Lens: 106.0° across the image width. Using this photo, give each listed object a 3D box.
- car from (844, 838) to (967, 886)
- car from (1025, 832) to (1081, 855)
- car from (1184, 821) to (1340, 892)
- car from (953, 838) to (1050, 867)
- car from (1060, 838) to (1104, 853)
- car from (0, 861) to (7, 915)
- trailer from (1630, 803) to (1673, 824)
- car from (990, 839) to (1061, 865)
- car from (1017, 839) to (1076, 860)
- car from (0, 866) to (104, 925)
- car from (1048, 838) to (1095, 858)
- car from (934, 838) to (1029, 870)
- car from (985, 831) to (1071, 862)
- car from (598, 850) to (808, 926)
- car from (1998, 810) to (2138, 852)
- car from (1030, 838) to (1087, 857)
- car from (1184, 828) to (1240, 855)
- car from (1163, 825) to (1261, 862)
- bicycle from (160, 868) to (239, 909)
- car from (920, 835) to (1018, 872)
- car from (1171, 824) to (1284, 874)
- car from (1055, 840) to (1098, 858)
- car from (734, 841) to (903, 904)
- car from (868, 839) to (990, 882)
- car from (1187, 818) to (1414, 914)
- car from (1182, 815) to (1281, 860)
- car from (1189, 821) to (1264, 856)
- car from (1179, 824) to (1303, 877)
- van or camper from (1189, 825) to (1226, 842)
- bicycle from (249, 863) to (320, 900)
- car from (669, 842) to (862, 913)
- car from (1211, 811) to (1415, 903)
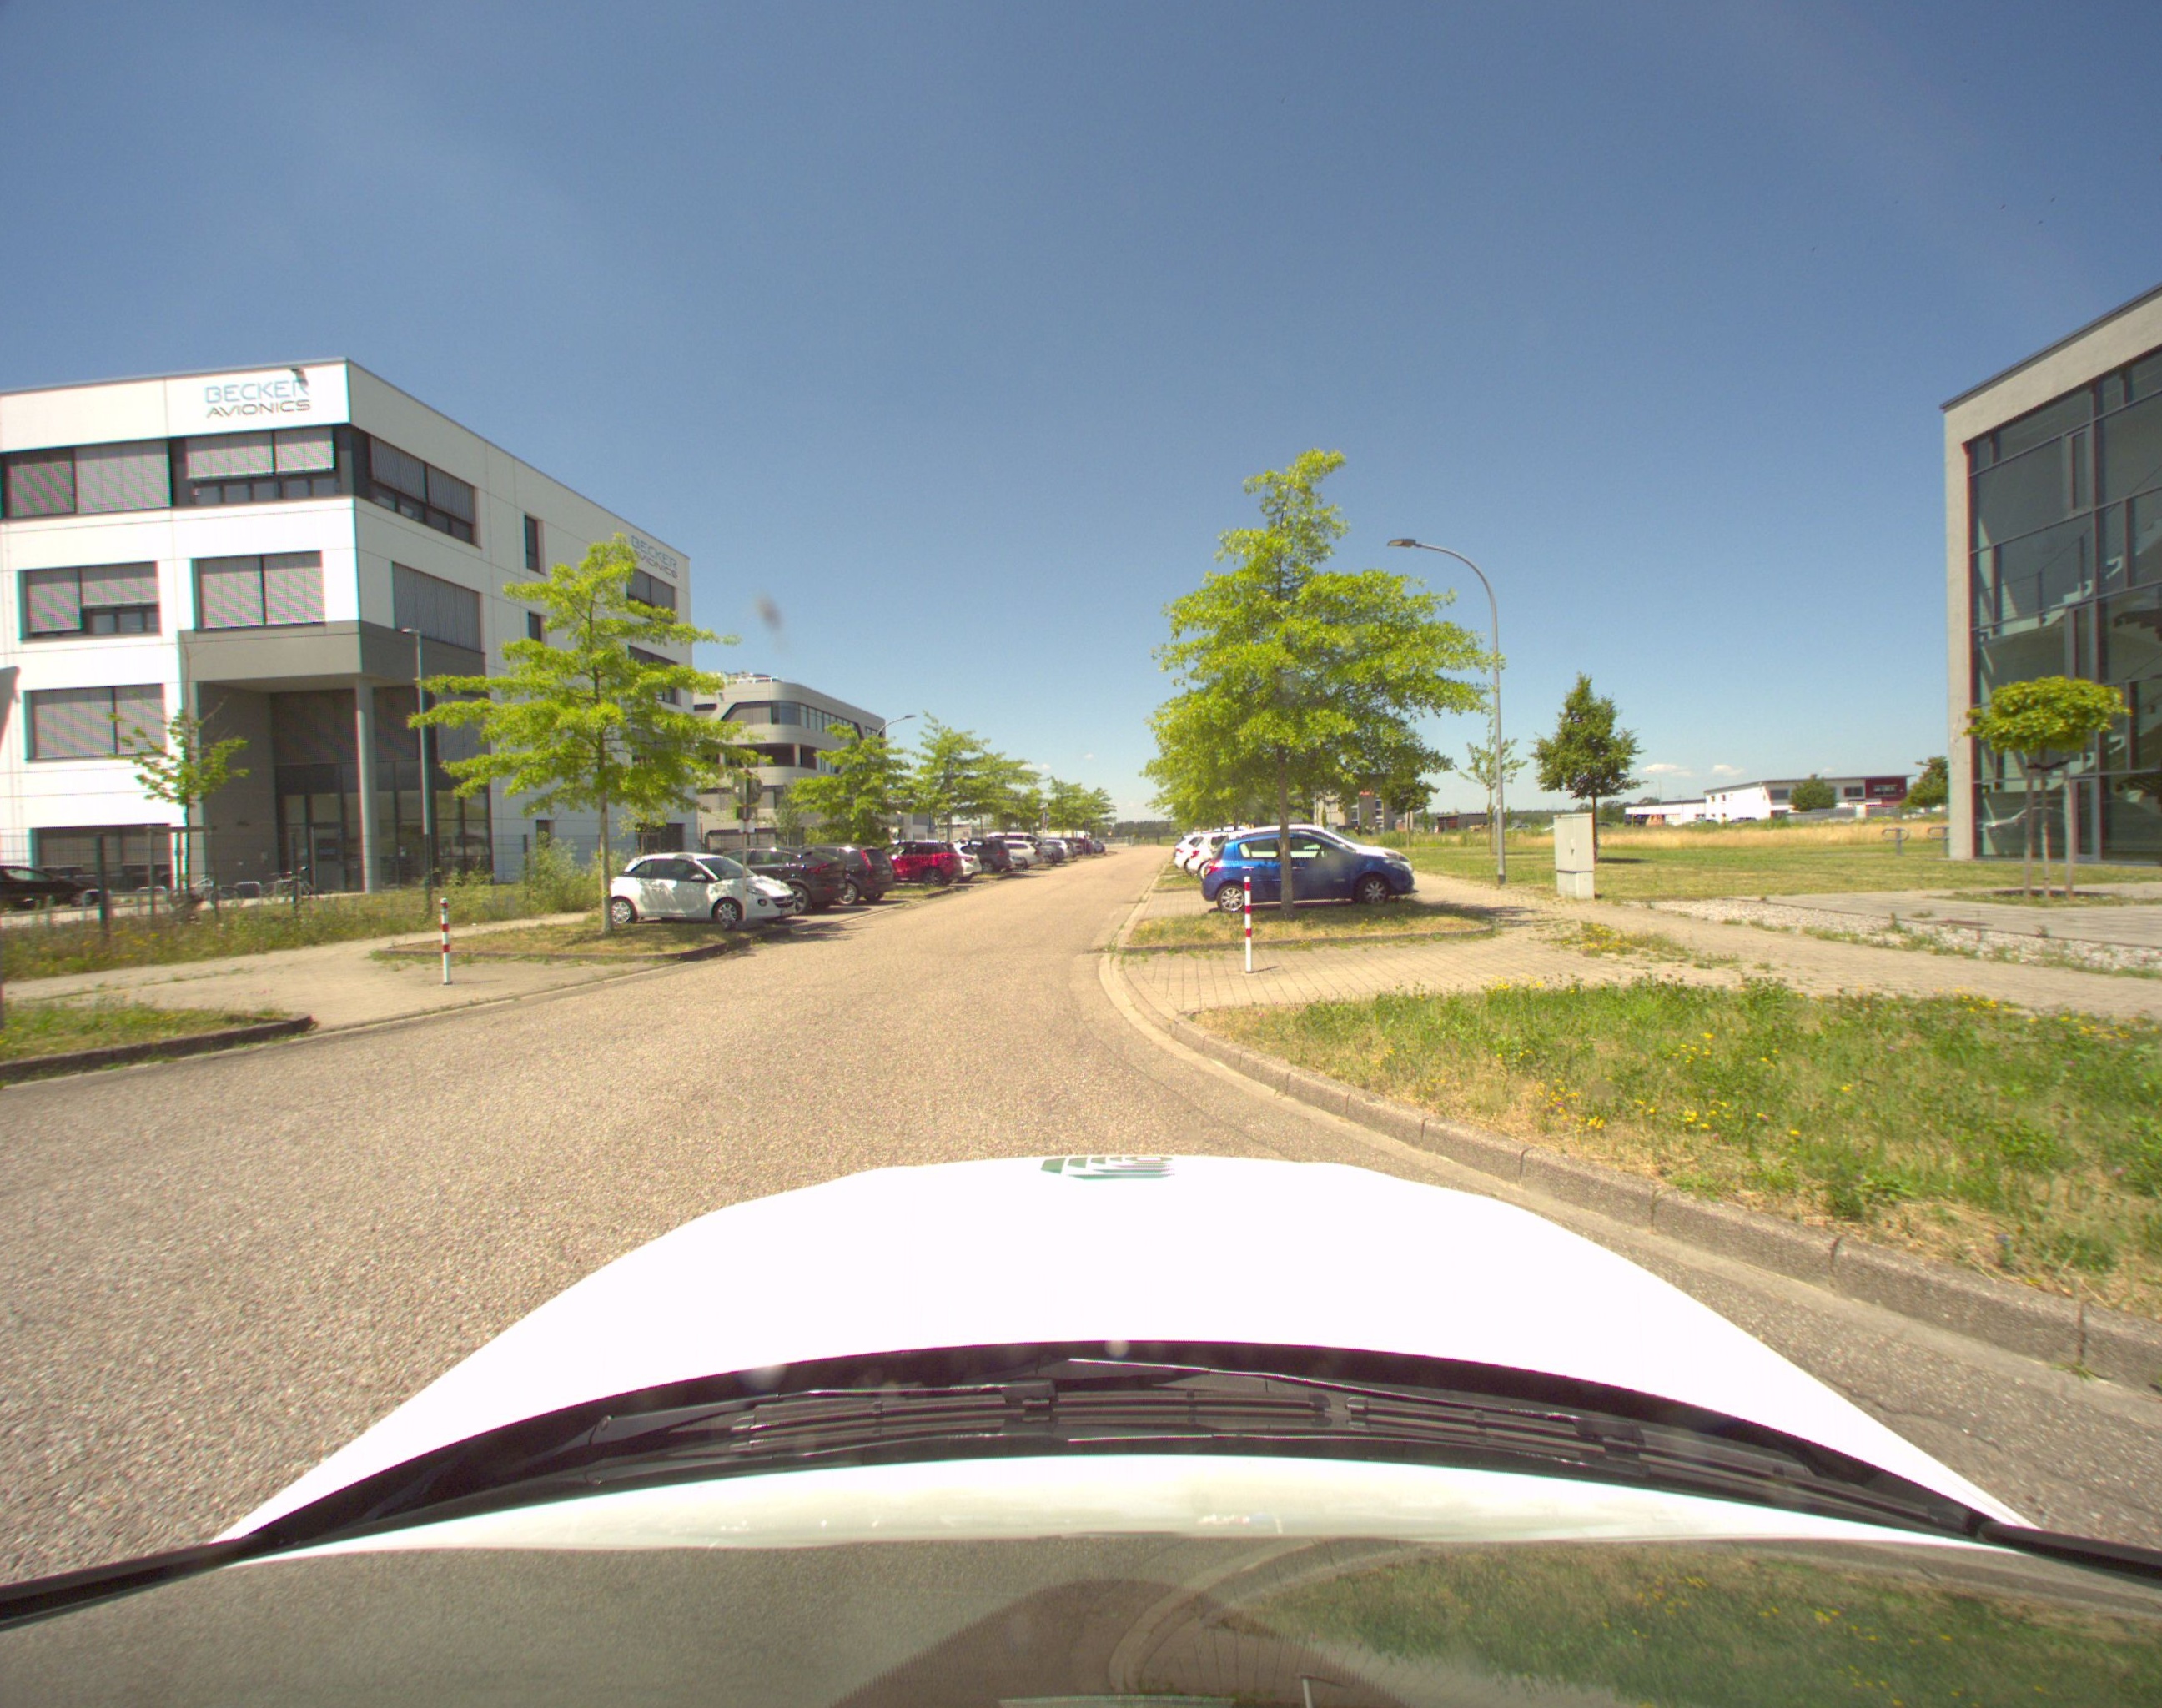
[{"bbox_3d":[-6.028,0.258,28.233,3.821,1.591,1.730,0,1,4],"label":"car"},{"bbox_3d":[-2.005,-0.763,59.799,3.971,1.678,1.778,0,1,2],"label":"car"},{"bbox_3d":[4.582,0.035,21.003,3.603,1.463,1.612,-5,1,2],"label":"car"},{"bbox_3d":[-4.067,-0.085,42.003,4.692,1.447,1.860,0,1,4],"label":"car"},{"bbox_3d":[0.113,-0.793,78.291,4.058,1.424,1.876,0,1,3],"label":"car"},{"bbox_3d":[-34.614,1.128,23.468,1.767,1.683,4.007,-2,1,6],"label":"car"},{"bbox_3d":[74.251,-5.242,106.016,3.967,2.599,2.237,-2,1,5],"label":"trailer"},{"bbox_3d":[-3.277,-0.148,48.566,3.947,1.484,1.768,0,1,7],"label":"car"},{"bbox_3d":[-2.429,-0.352,57.582,4.019,1.460,1.606,0,1,4],"label":"car"},{"bbox_3d":[-31.796,1.244,23.636,1.767,1.602,4.007,-2,1,6],"label":"car"},{"bbox_3d":[-0.792,-0.539,68.919,3.717,1.621,1.821,0,1,7],"label":"car"},{"bbox_3d":[-4.776,-0.006,39.511,4.291,1.473,1.730,0,1,4],"label":"car"},{"bbox_3d":[-3.328,-0.477,51.506,5.041,1.891,2.002,-1,1,8],"label":"car"},{"bbox_3d":[-7.711,0.655,16.803,3.486,1.441,1.731,0,1,6],"label":"car"},{"bbox_3d":[39.665,-0.923,32.801,3.305,1.509,1.723,-3,1,7],"label":"car"},{"bbox_3d":[-1.706,-0.516,62.648,4.170,1.480,1.716,0,1,7],"label":"car"},{"bbox_3d":[9.453,-0.925,58.963,3.854,1.677,1.786,-4,1,7],"label":"car"},{"bbox_3d":[6.629,-0.534,41.637,4.696,1.560,1.915,-4,1,3],"label":"car"},{"bbox_3d":[-22.818,0.888,21.086,1.584,0.982,0.462,-2,1,5],"label":"bicycle"},{"bbox_3d":[-5.108,-0.034,37.377,4.096,1.634,1.731,0,1,6],"label":"car"},{"bbox_3d":[5.296,-0.183,29.359,3.808,1.553,1.786,-3,2,12],"label":"car"},{"bbox_3d":[-0.369,-0.459,71.510,3.641,1.508,1.733,0,1,3],"label":"car"},{"bbox_3d":[-6.946,0.462,21.790,3.886,1.591,1.731,0,1,6],"label":"car"},{"bbox_3d":[-5.721,0.212,30.935,4.148,1.513,1.812,0,2,8],"label":"car"},{"bbox_3d":[4.198,0.218,15.972,3.970,1.490,1.733,-5,1,11],"label":"car"},{"bbox_3d":[6.426,-0.686,35.071,4.024,1.625,1.697,-4,1,7],"label":"car"},{"bbox_3d":[8.876,-0.949,49.974,4.378,1.829,1.800,-4,0,8],"label":"car"},{"bbox_3d":[5.211,-0.124,26.887,3.814,1.524,1.783,-3,1,7],"label":"car"},{"bbox_3d":[17.837,-2.853,114.943,4.911,2.163,2.004,-2,1,6],"label":"van or camper"},{"bbox_3d":[-22.465,0.774,22.967,1.584,0.982,0.462,-2,1,5],"label":"bicycle"},{"bbox_3d":[-7.422,0.523,19.409,3.821,1.593,1.831,0,1,3],"label":"car"},{"bbox_3d":[5.088,0.048,18.228,4.082,1.650,1.780,-5,1,12],"label":"car"}]
